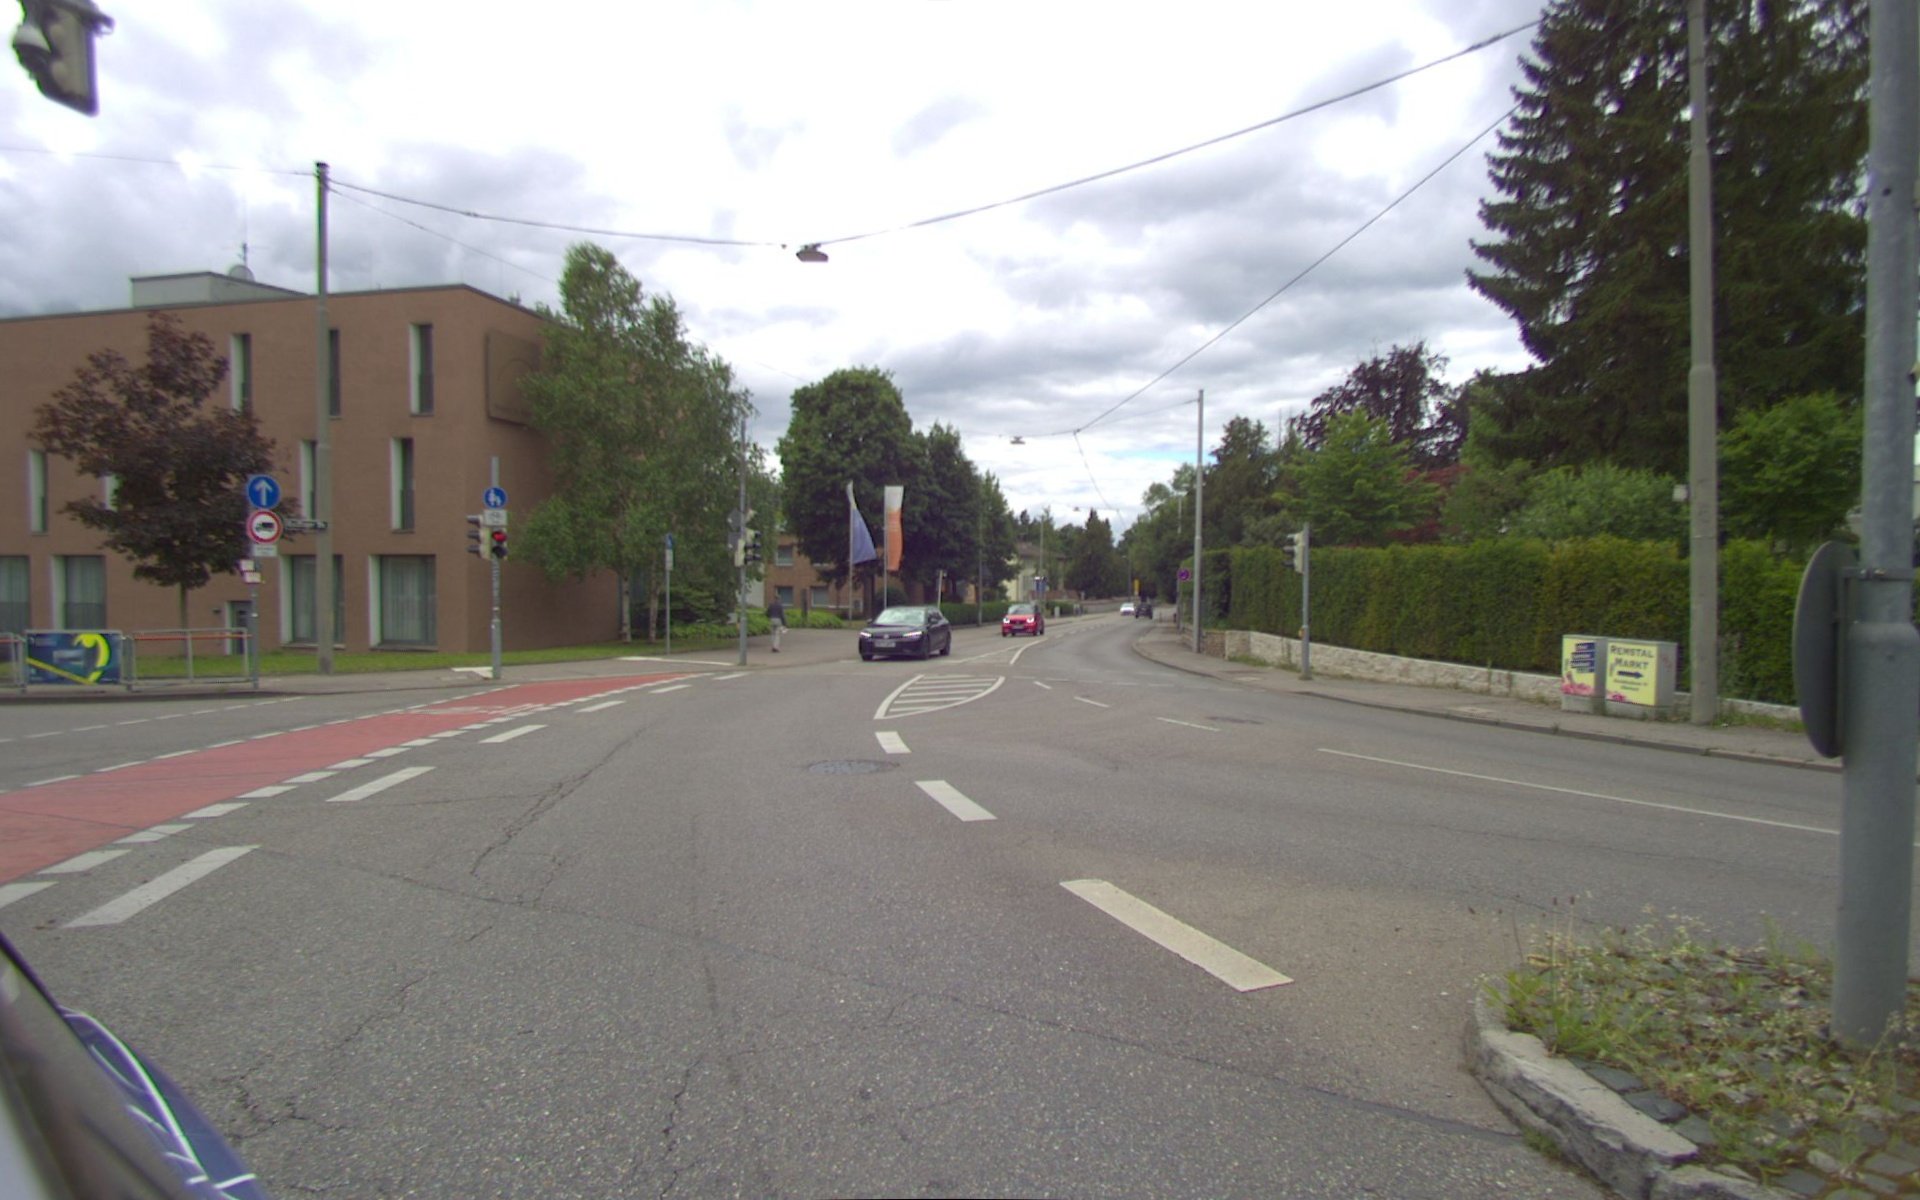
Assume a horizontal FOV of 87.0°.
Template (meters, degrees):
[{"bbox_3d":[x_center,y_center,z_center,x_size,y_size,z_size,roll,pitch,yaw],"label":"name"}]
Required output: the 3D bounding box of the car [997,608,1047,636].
[{"bbox_3d":[3.011,1.027,48.454,1.978,1.209,3.989,-1,1,9],"label":"car"}]

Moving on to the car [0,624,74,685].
[{"bbox_3d":[-26.454,1.505,26.581,1.985,1.570,4.407,-2,0,20],"label":"car"}]

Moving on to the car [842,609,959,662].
[{"bbox_3d":[-1.552,0.924,27.889,1.983,1.253,3.978,1,1,17],"label":"car"}]
